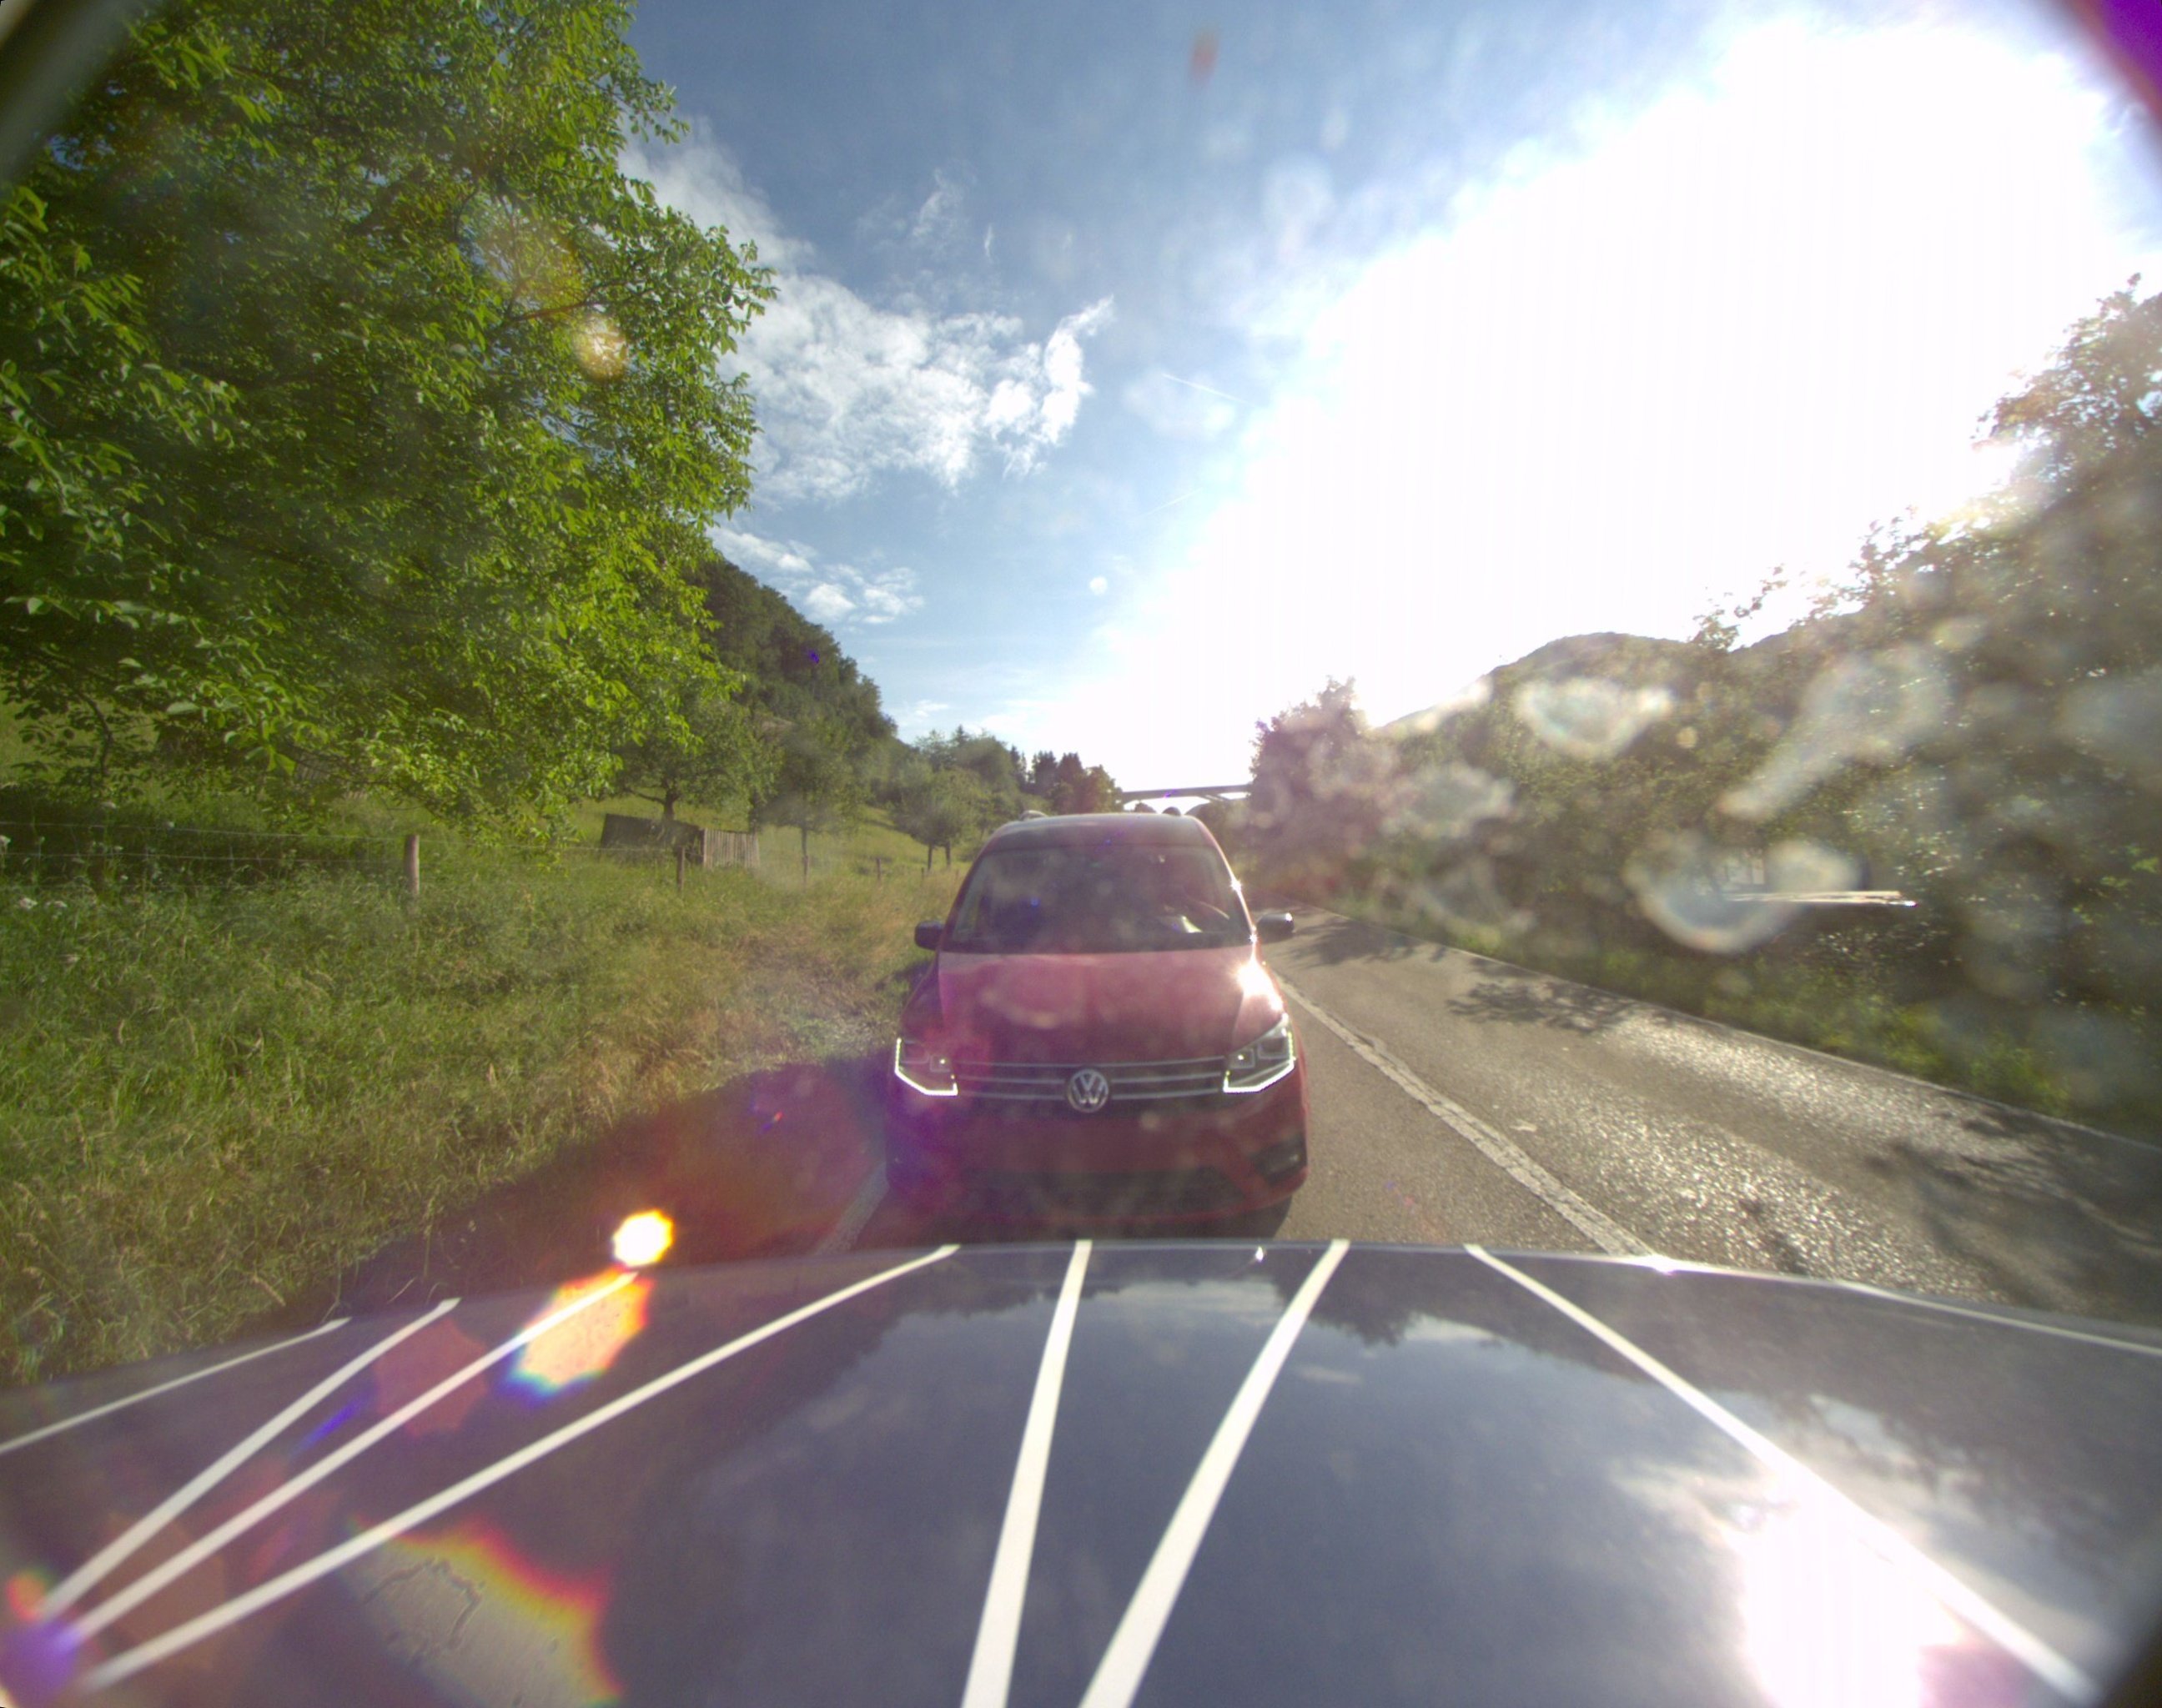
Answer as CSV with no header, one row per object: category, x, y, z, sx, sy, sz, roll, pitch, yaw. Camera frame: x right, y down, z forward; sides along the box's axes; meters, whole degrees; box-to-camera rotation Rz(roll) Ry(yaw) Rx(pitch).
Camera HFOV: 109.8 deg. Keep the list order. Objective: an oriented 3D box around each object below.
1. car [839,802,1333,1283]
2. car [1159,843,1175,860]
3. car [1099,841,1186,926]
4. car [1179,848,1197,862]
car,0.158,0.683,5.008,1.758,1.745,4.430,-2,1,4
car,11.352,-0.344,100.382,1.997,2.002,4.001,-2,1,7
car,1.455,0.591,17.988,1.758,1.745,4.001,-2,1,5
car,11.706,0.083,83.053,1.707,1.422,4.051,-2,1,6
